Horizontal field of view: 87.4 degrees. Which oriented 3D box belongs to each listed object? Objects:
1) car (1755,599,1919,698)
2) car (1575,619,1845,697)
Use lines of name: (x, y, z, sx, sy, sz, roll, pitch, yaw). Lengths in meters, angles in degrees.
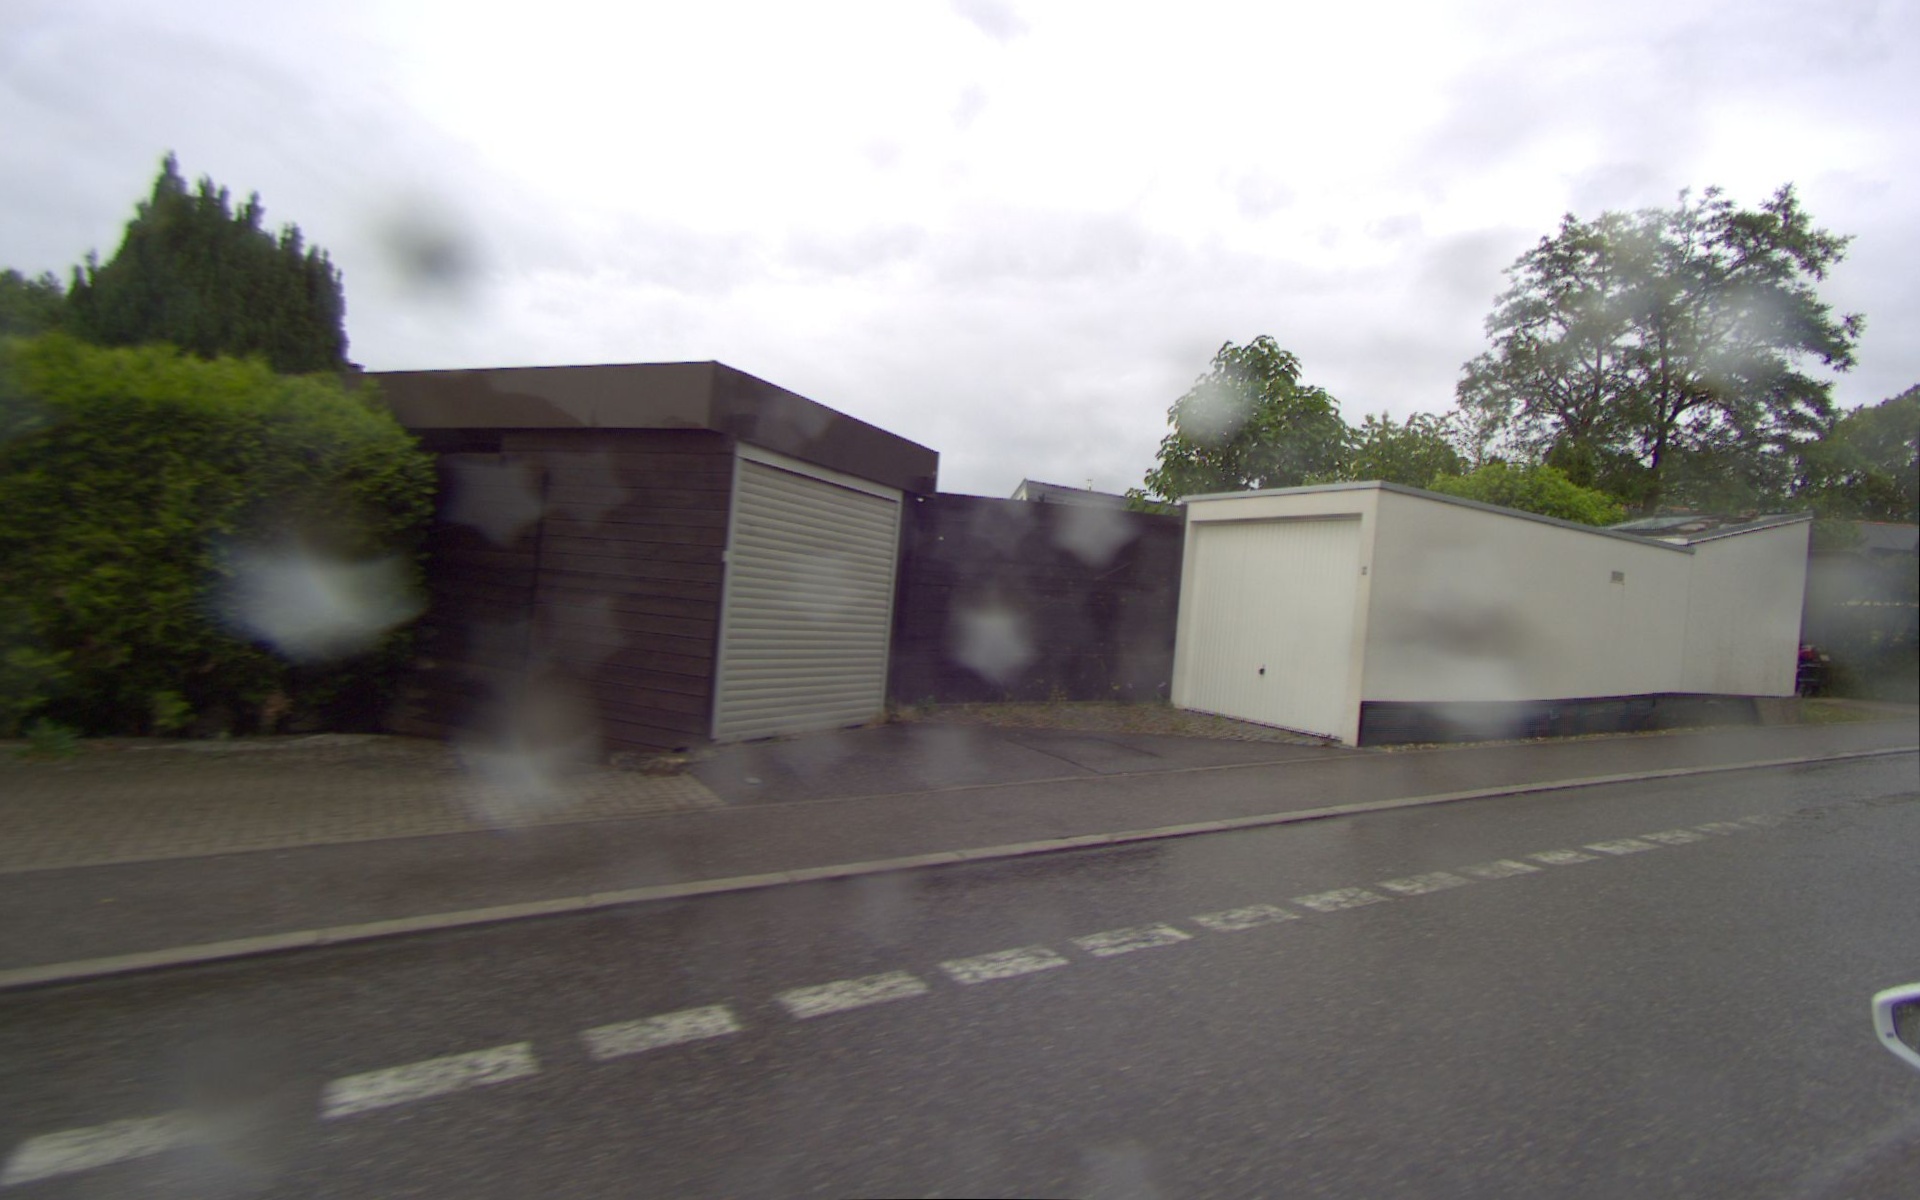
car: (19.476, 0.982, 20.624, 2.059, 1.884, 4.493, 1, 0, -22)
car: (14.863, 1.092, 20.128, 1.770, 1.320, 3.977, 2, -1, -29)
